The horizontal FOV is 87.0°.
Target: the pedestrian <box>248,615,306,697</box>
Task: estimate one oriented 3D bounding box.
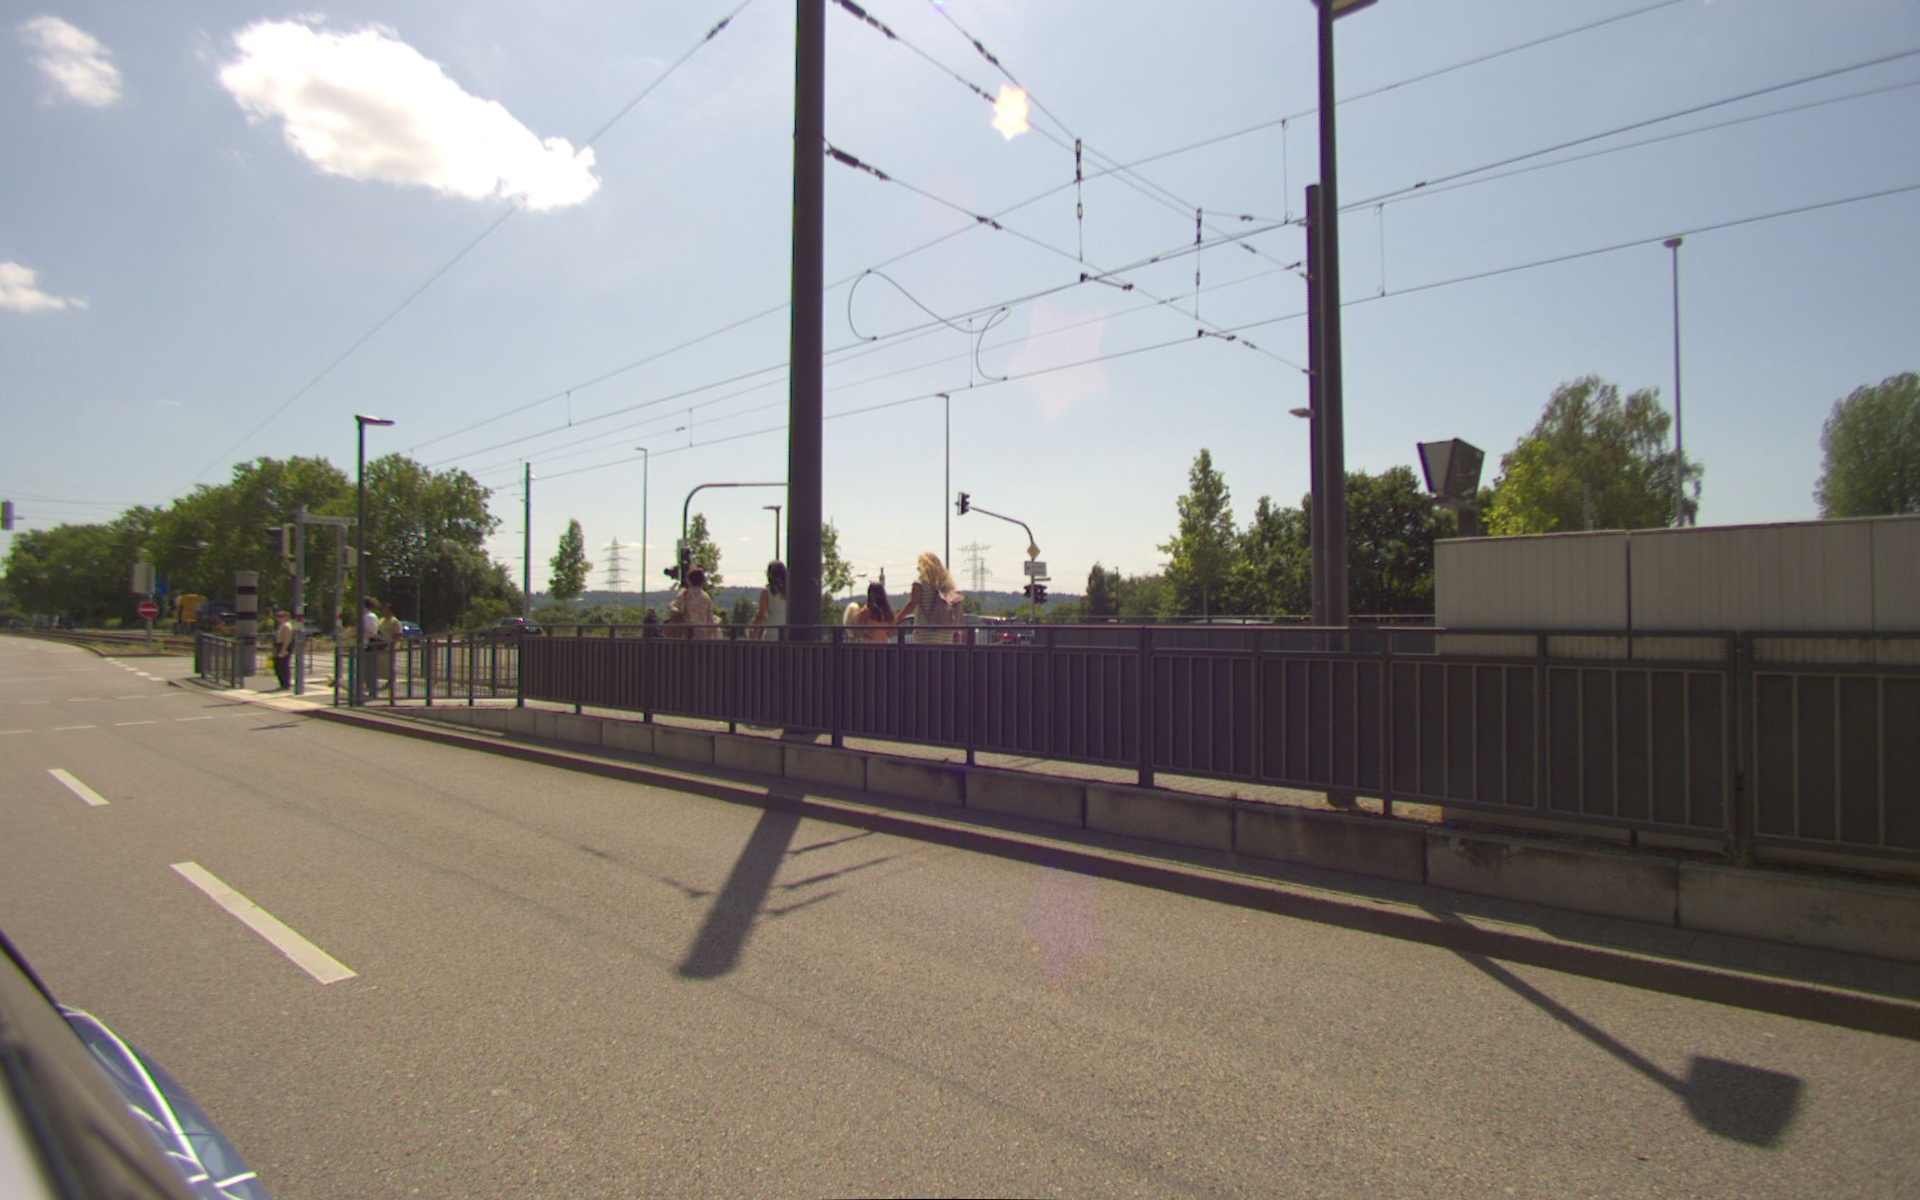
[{"bbox_3d":[-13.662,1.102,20.251,0.764,1.584,0.777,-2,-1,39],"label":"pedestrian"}]

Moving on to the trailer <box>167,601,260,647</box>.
[{"bbox_3d":[-68.678,2.250,92.908,15.464,3.900,3.084,-2,-2,39],"label":"trailer"}]

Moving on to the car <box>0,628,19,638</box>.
[{"bbox_3d":[-164.191,5.736,174.651,4.260,1.649,1.974,-1,-4,39],"label":"car"}]

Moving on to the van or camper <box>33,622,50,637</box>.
[{"bbox_3d":[-157.891,5.038,173.956,1.969,2.606,5.850,3,-3,-43],"label":"van or camper"}]

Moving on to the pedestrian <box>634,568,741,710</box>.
[{"bbox_3d":[-3.297,0.460,12.227,0.924,1.617,0.881,-2,-2,41],"label":"pedestrian"}]

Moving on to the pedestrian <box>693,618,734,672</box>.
[{"bbox_3d":[-7.544,1.372,31.002,0.763,1.622,0.947,-2,-2,40],"label":"pedestrian"}]

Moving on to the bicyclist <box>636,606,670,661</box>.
[{"bbox_3d":[-9.297,0.999,30.637,0.730,1.627,0.660,-1,-1,27],"label":"bicyclist"}]

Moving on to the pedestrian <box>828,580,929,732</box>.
[{"bbox_3d":[-0.764,0.505,9.483,0.719,1.355,0.607,-2,-1,41],"label":"pedestrian"}]

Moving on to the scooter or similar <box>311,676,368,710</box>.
[{"bbox_3d":[-10.543,1.573,17.208,0.457,0.509,0.719,-2,-2,39],"label":"scooter or similar"}]

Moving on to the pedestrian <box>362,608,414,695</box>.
[{"bbox_3d":[-11.497,1.019,20.346,0.678,1.685,0.725,-2,-1,39],"label":"pedestrian"}]

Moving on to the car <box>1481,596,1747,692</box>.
[{"bbox_3d":[12.476,0.790,19.430,3.999,1.641,1.972,-1,-1,43],"label":"car"}]

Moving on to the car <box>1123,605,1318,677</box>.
[{"bbox_3d":[6.409,0.994,25.208,4.282,1.641,1.971,-2,-2,44],"label":"car"}]

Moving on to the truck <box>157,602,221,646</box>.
[{"bbox_3d":[-74.254,2.325,97.414,7.464,4.069,3.096,-2,-1,38],"label":"truck"}]

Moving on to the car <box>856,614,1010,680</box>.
[{"bbox_3d":[-0.792,1.235,27.615,4.001,1.641,1.971,-2,-1,44],"label":"car"}]

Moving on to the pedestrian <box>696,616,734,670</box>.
[{"bbox_3d":[-7.178,1.253,29.630,0.763,1.560,0.754,-2,-2,40],"label":"pedestrian"}]

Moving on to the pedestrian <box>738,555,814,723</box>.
[{"bbox_3d":[-1.803,0.376,9.932,0.557,1.590,0.492,-2,-2,41],"label":"pedestrian"}]

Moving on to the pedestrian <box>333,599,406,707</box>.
[{"bbox_3d":[-10.339,0.908,17.717,0.882,1.816,0.854,-2,-1,39],"label":"pedestrian"}]

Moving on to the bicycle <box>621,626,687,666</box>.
[{"bbox_3d":[-9.255,1.373,30.697,0.761,1.109,1.960,-1,-1,27],"label":"bicycle"}]

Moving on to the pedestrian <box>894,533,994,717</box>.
[{"bbox_3d":[-0.153,0.236,9.784,0.719,1.694,0.607,-2,-1,41],"label":"pedestrian"}]

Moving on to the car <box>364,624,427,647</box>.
[{"bbox_3d":[-37.080,2.344,66.454,4.340,1.456,1.976,-2,-2,35],"label":"car"}]

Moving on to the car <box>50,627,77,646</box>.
[{"bbox_3d":[-115.391,4.694,130.318,4.431,1.852,1.972,-11,-12,41],"label":"car"}]

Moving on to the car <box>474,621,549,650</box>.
[{"bbox_3d":[-26.238,2.061,59.200,4.295,1.642,1.978,-2,-2,32],"label":"car"}]

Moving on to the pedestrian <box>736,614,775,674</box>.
[{"bbox_3d":[-5.856,1.255,28.965,0.763,1.685,0.754,-2,-2,40],"label":"pedestrian"}]

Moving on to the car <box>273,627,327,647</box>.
[{"bbox_3d":[-50.615,2.812,77.567,4.267,1.474,1.977,-2,-2,34],"label":"car"}]

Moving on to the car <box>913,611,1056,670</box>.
[{"bbox_3d":[0.694,1.178,30.311,4.001,1.641,1.971,-2,-2,44],"label":"car"}]
